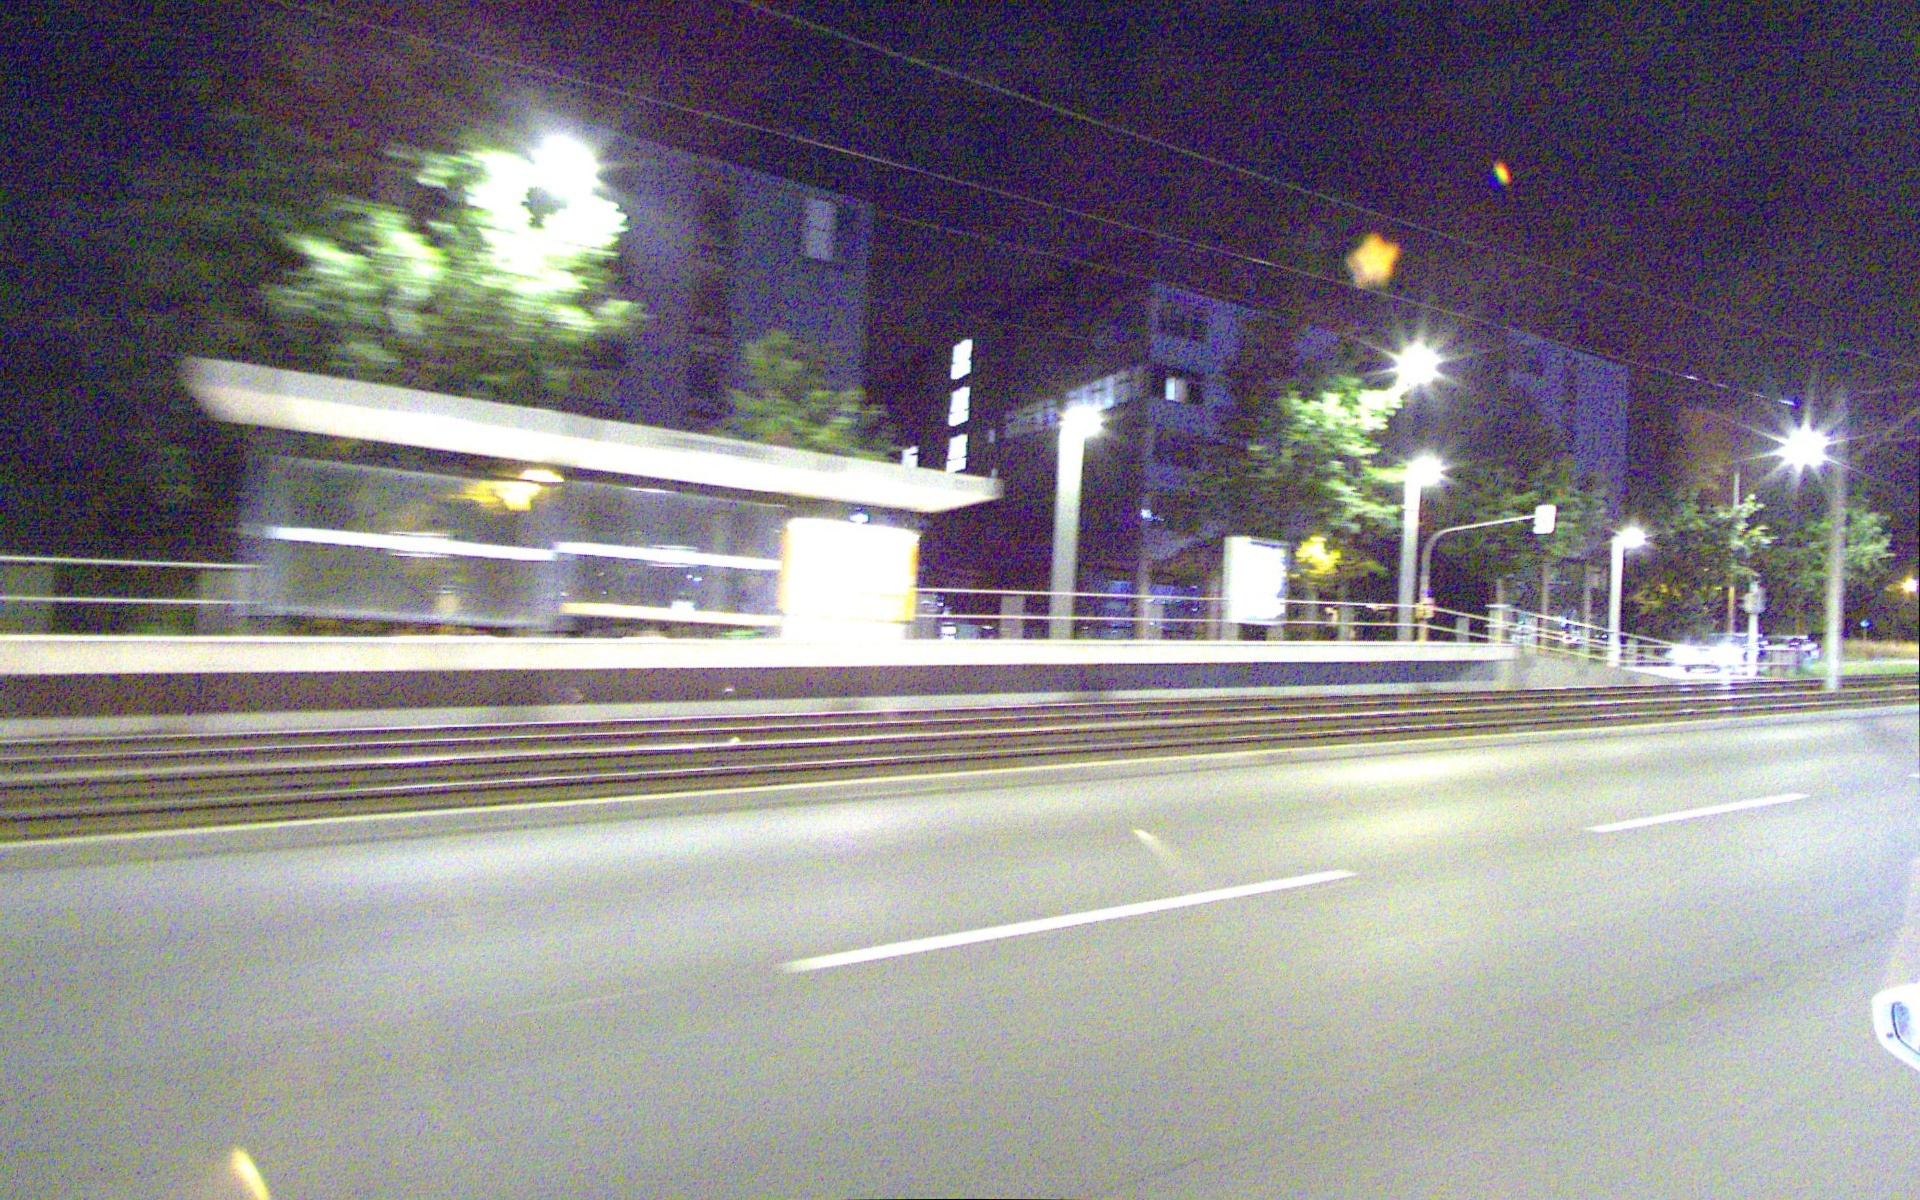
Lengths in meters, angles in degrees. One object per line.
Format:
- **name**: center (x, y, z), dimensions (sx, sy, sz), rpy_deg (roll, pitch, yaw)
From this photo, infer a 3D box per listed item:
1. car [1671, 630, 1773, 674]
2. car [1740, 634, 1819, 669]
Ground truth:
- **car**: center (29.318, 2.013, 38.611), dimensions (4.129, 1.517, 1.775), rpy_deg (3, -2, -32)
- **car**: center (38.753, 2.449, 47.481), dimensions (3.864, 1.536, 1.652), rpy_deg (2, -1, -30)
